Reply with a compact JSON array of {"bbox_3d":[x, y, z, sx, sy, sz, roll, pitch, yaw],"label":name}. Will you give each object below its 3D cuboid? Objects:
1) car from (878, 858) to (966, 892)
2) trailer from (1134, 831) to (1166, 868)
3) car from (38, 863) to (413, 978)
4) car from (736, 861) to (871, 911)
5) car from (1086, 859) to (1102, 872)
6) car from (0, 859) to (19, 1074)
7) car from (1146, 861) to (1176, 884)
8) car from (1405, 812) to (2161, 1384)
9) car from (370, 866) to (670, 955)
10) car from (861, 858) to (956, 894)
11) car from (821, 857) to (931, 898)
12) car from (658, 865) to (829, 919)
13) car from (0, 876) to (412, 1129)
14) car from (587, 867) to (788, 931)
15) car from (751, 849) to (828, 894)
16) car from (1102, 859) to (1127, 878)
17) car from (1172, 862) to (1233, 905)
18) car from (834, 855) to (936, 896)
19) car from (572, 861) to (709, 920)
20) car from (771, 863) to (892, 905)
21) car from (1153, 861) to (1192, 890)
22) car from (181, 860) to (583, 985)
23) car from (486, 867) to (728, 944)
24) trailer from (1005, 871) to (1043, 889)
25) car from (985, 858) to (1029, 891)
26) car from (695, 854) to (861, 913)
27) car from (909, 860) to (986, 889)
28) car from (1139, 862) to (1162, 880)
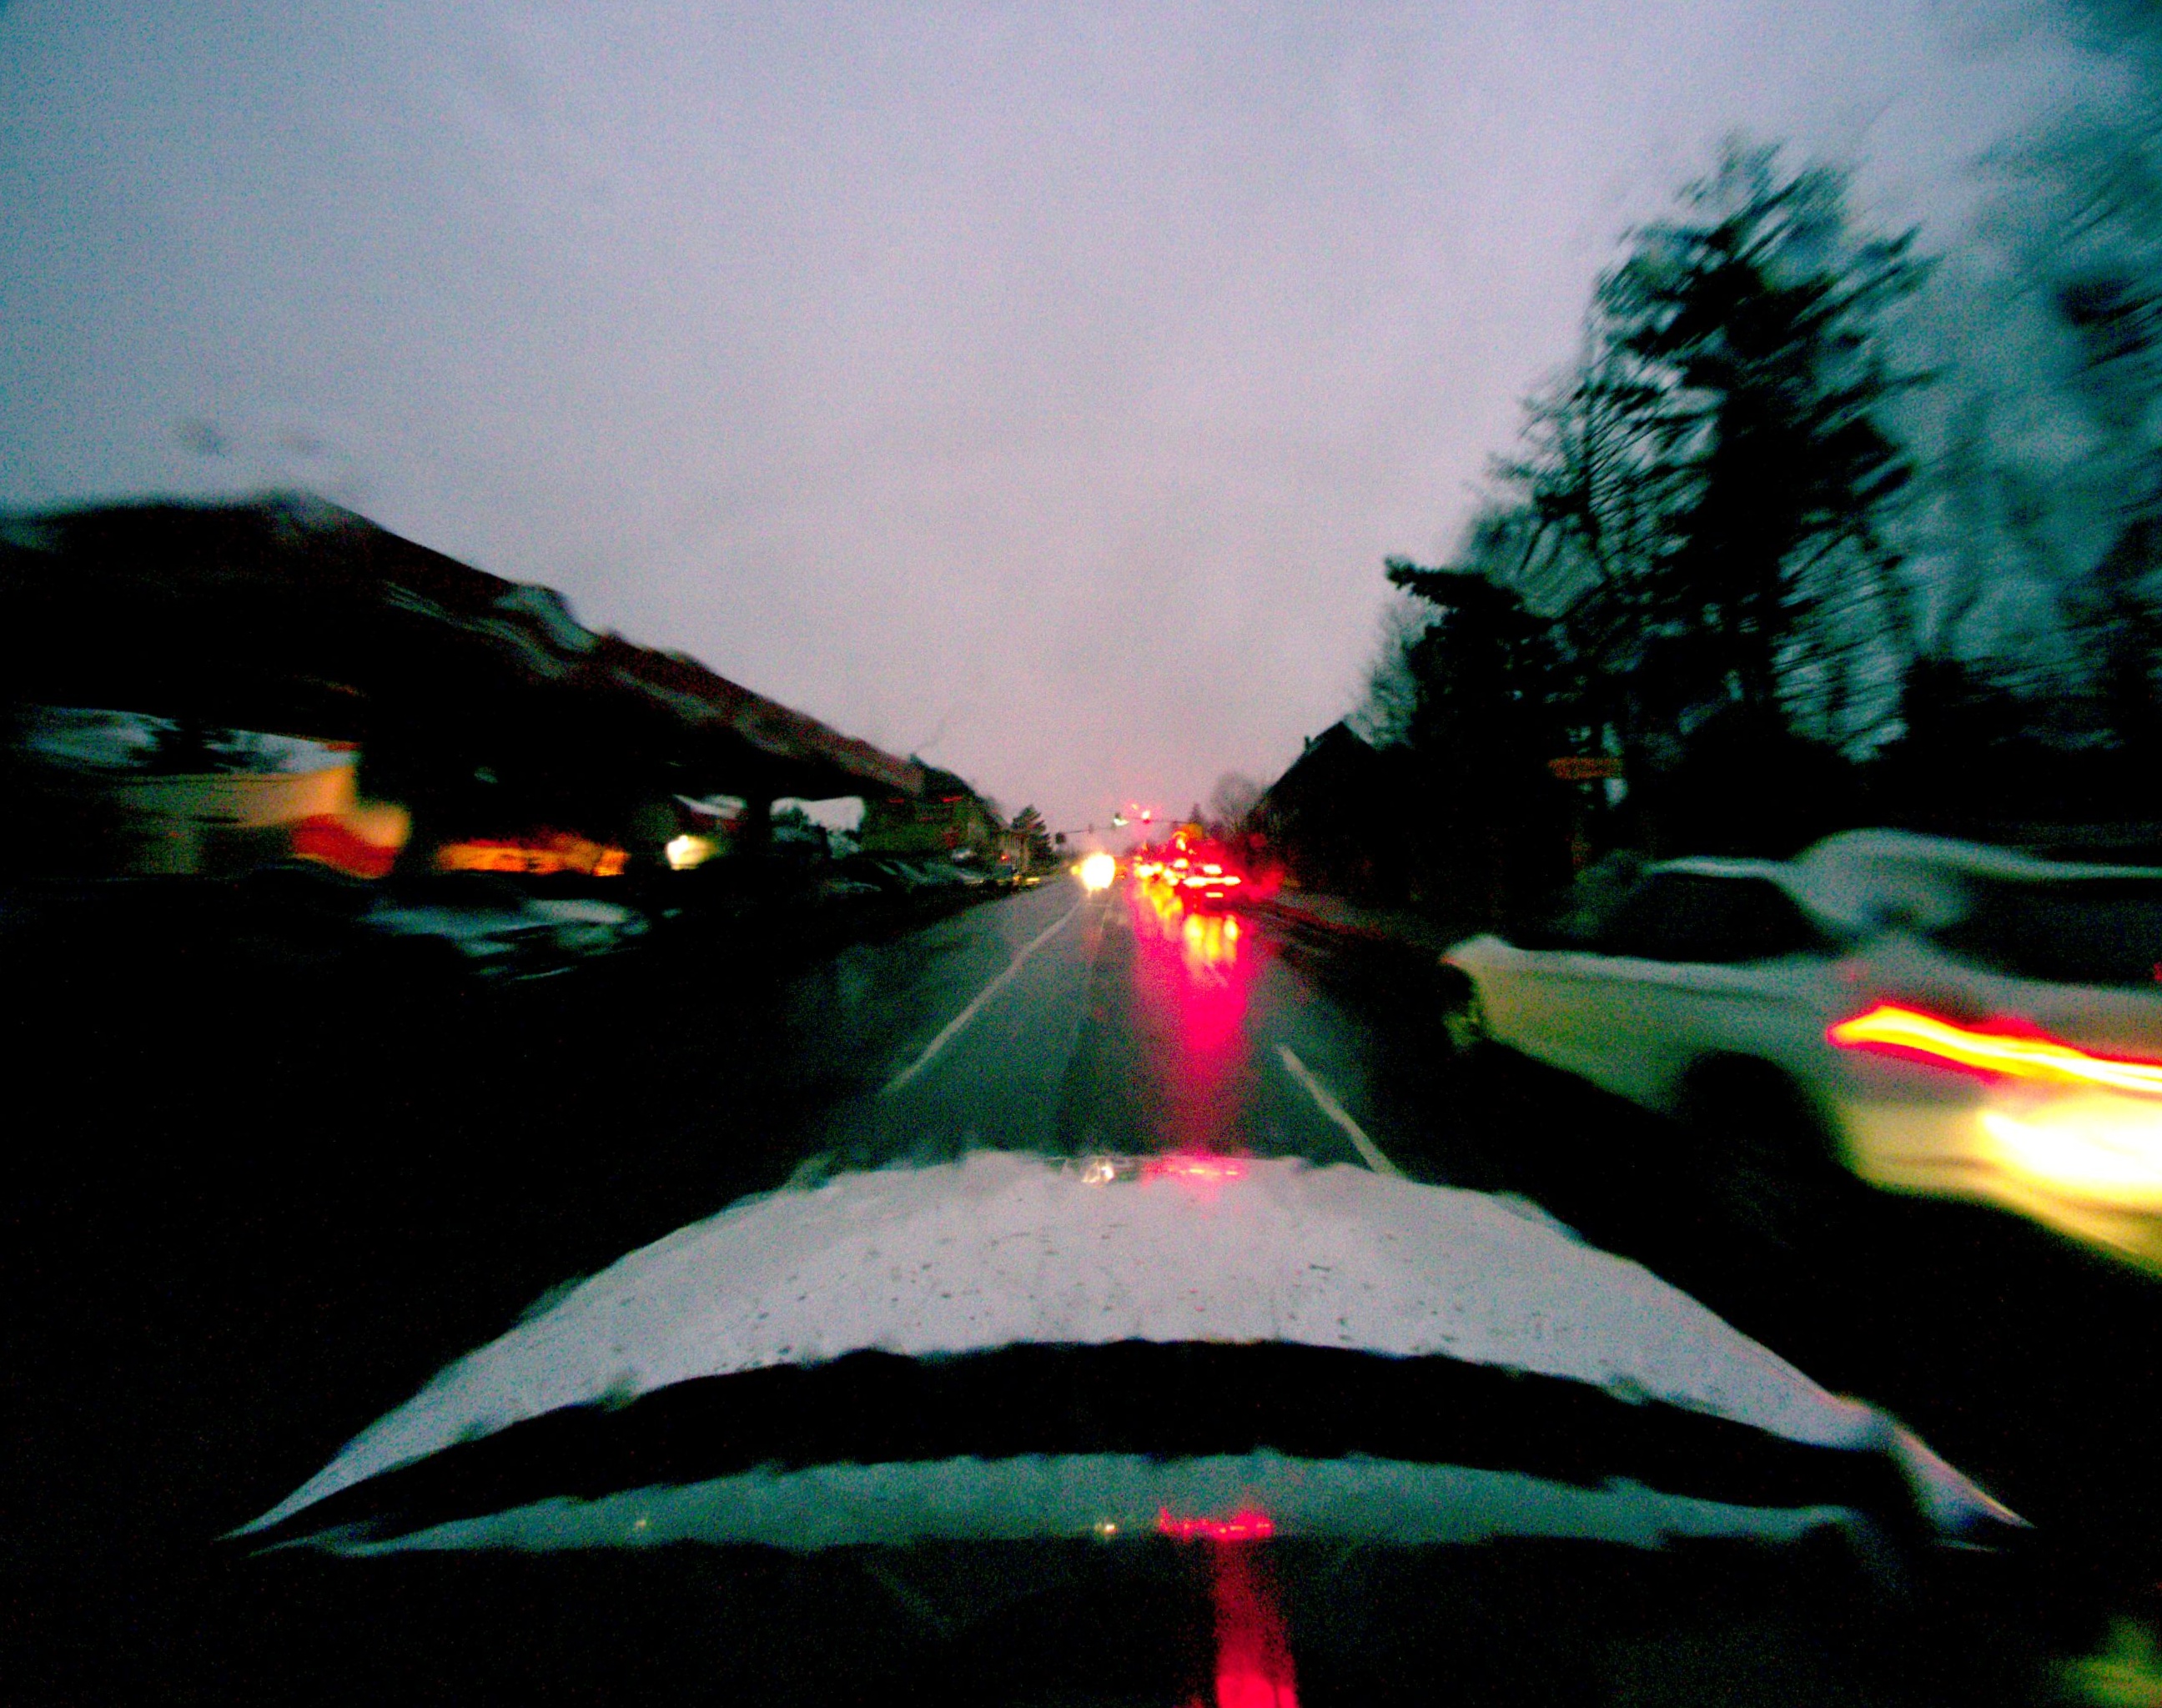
[{"bbox_3d":[-8.588,1.115,44.203,4.260,1.662,2.138,1,0,2],"label":"car"},{"bbox_3d":[6.361,-0.337,76.290,2.478,3.241,10.872,-1,-1,2],"label":"trailer"},{"bbox_3d":[-13.821,0.968,13.590,1.860,1.554,4.048,0,0,3],"label":"car"},{"bbox_3d":[-9.273,1.059,27.415,3.844,1.559,1.840,-1,-1,1],"label":"car"},{"bbox_3d":[1.935,1.623,118.231,1.984,1.746,4.006,-3,-1,6],"label":"car"},{"bbox_3d":[-10.399,0.907,5.523,4.029,1.650,1.944,-1,0,4],"label":"car"},{"bbox_3d":[5.616,1.257,57.420,1.829,1.568,4.506,0,-1,2],"label":"car"},{"bbox_3d":[3.429,0.673,4.470,1.701,1.576,4.467,-1,0,3],"label":"car"},{"bbox_3d":[-9.593,0.925,14.169,3.844,1.410,1.944,0,0,1],"label":"car"},{"bbox_3d":[-8.679,1.090,41.269,4.260,1.662,2.001,1,0,2],"label":"car"},{"bbox_3d":[-9.011,1.022,36.078,4.260,1.662,2.001,1,0,2],"label":"car"},{"bbox_3d":[-9.132,1.004,22.243,3.844,1.346,1.840,-1,0,1],"label":"car"},{"bbox_3d":[-7.118,0.921,5.650,1.675,1.421,3.745,-1,0,4],"label":"car"},{"bbox_3d":[-9.269,1.036,19.391,3.844,1.346,1.840,-1,0,1],"label":"car"},{"bbox_3d":[-12.940,0.772,36.397,1.879,1.869,4.001,-1,-1,2],"label":"car"},{"bbox_3d":[3.046,1.310,75.295,2.041,1.573,4.701,-2,-1,0],"label":"car"},{"bbox_3d":[4.202,0.979,28.769,1.634,1.366,4.772,-1,-1,3],"label":"car"},{"bbox_3d":[-9.287,1.002,38.841,4.260,1.764,2.001,1,0,2],"label":"car"},{"bbox_3d":[-13.681,1.077,25.612,1.881,1.656,4.150,-1,0,2],"label":"car"},{"bbox_3d":[-9.154,1.076,30.093,3.844,1.441,1.840,-1,0,1],"label":"car"},{"bbox_3d":[4.489,1.023,40.545,1.646,1.336,4.275,-1,0,3],"label":"car"},{"bbox_3d":[-9.496,0.877,11.316,4.015,1.554,1.824,0,0,1],"label":"car"},{"bbox_3d":[-9.590,1.007,16.701,3.844,1.406,1.840,-1,0,1],"label":"car"},{"bbox_3d":[-3.957,1.815,57.409,1.985,1.039,6.107,-2,0,3],"label":"trailer"},{"bbox_3d":[-4.443,1.181,49.502,1.963,1.830,4.515,-2,0,2],"label":"car"},{"bbox_3d":[-9.165,0.882,24.872,4.265,1.657,1.981,-1,-1,1],"label":"car"},{"bbox_3d":[-8.107,1.257,49.722,4.260,1.627,2.001,1,0,2],"label":"car"},{"bbox_3d":[5.553,1.345,65.152,1.656,1.439,4.383,0,-1,2],"label":"car"}]
